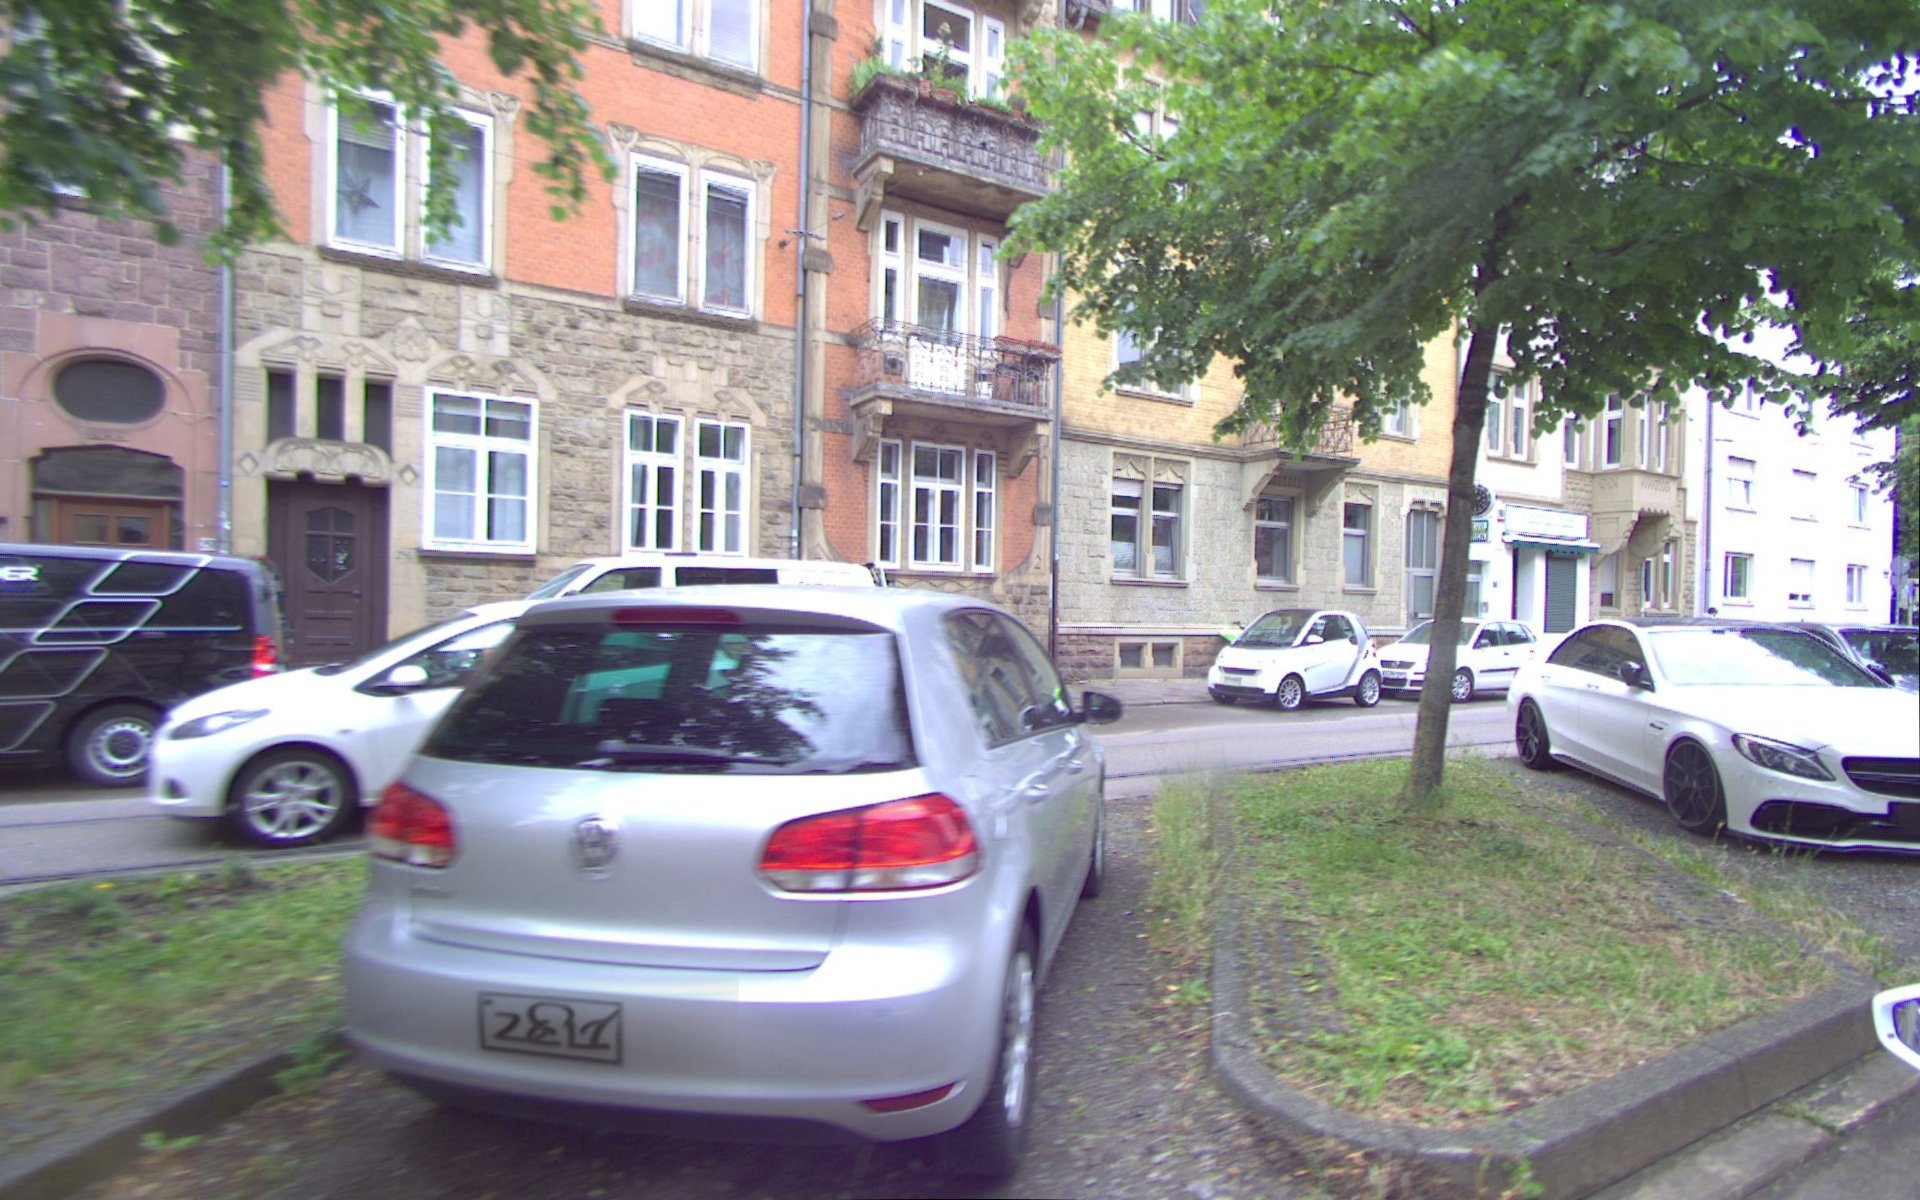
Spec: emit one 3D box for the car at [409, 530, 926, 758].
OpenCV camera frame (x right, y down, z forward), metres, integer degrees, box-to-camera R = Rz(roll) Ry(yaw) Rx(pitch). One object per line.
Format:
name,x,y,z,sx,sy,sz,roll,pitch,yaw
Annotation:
car,-3.032,0.449,10.845,5.036,1.978,1.871,2,0,-31

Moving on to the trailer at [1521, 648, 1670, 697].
trailer,13.157,1.456,20.765,3.042,0.904,1.447,1,-2,-32

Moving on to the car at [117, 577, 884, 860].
car,-2.973,0.695,7.294,4.569,1.524,1.635,2,0,-31

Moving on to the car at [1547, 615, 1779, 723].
car,11.341,1.060,16.146,3.839,1.524,1.635,2,0,-31

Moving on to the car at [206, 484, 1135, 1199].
car,-0.266,0.549,3.894,1.760,1.504,4.120,1,0,11

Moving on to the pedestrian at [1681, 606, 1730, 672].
pedestrian,20.531,1.061,27.681,0.890,1.790,0.793,1,0,-31

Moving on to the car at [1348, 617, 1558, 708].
car,9.025,1.079,18.317,3.880,1.462,1.626,1,0,-32

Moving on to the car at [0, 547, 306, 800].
car,-7.988,0.491,7.509,5.059,1.805,1.804,2,0,-31

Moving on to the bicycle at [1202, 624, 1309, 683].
bicycle,5.850,1.044,19.841,2.235,1.087,0.707,1,0,-32

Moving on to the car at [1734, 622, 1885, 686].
car,21.654,1.337,25.567,4.519,1.462,1.626,1,0,-32

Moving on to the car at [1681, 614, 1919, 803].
car,8.748,0.887,9.211,1.860,1.454,4.343,1,0,12

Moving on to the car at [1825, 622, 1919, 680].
car,26.334,1.405,28.306,4.710,1.462,1.626,1,0,-32

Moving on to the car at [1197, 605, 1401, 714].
car,5.468,0.903,16.181,2.918,1.571,1.626,1,0,-32

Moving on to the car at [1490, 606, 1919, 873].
car,5.955,0.796,7.782,1.860,1.454,4.691,1,0,9
